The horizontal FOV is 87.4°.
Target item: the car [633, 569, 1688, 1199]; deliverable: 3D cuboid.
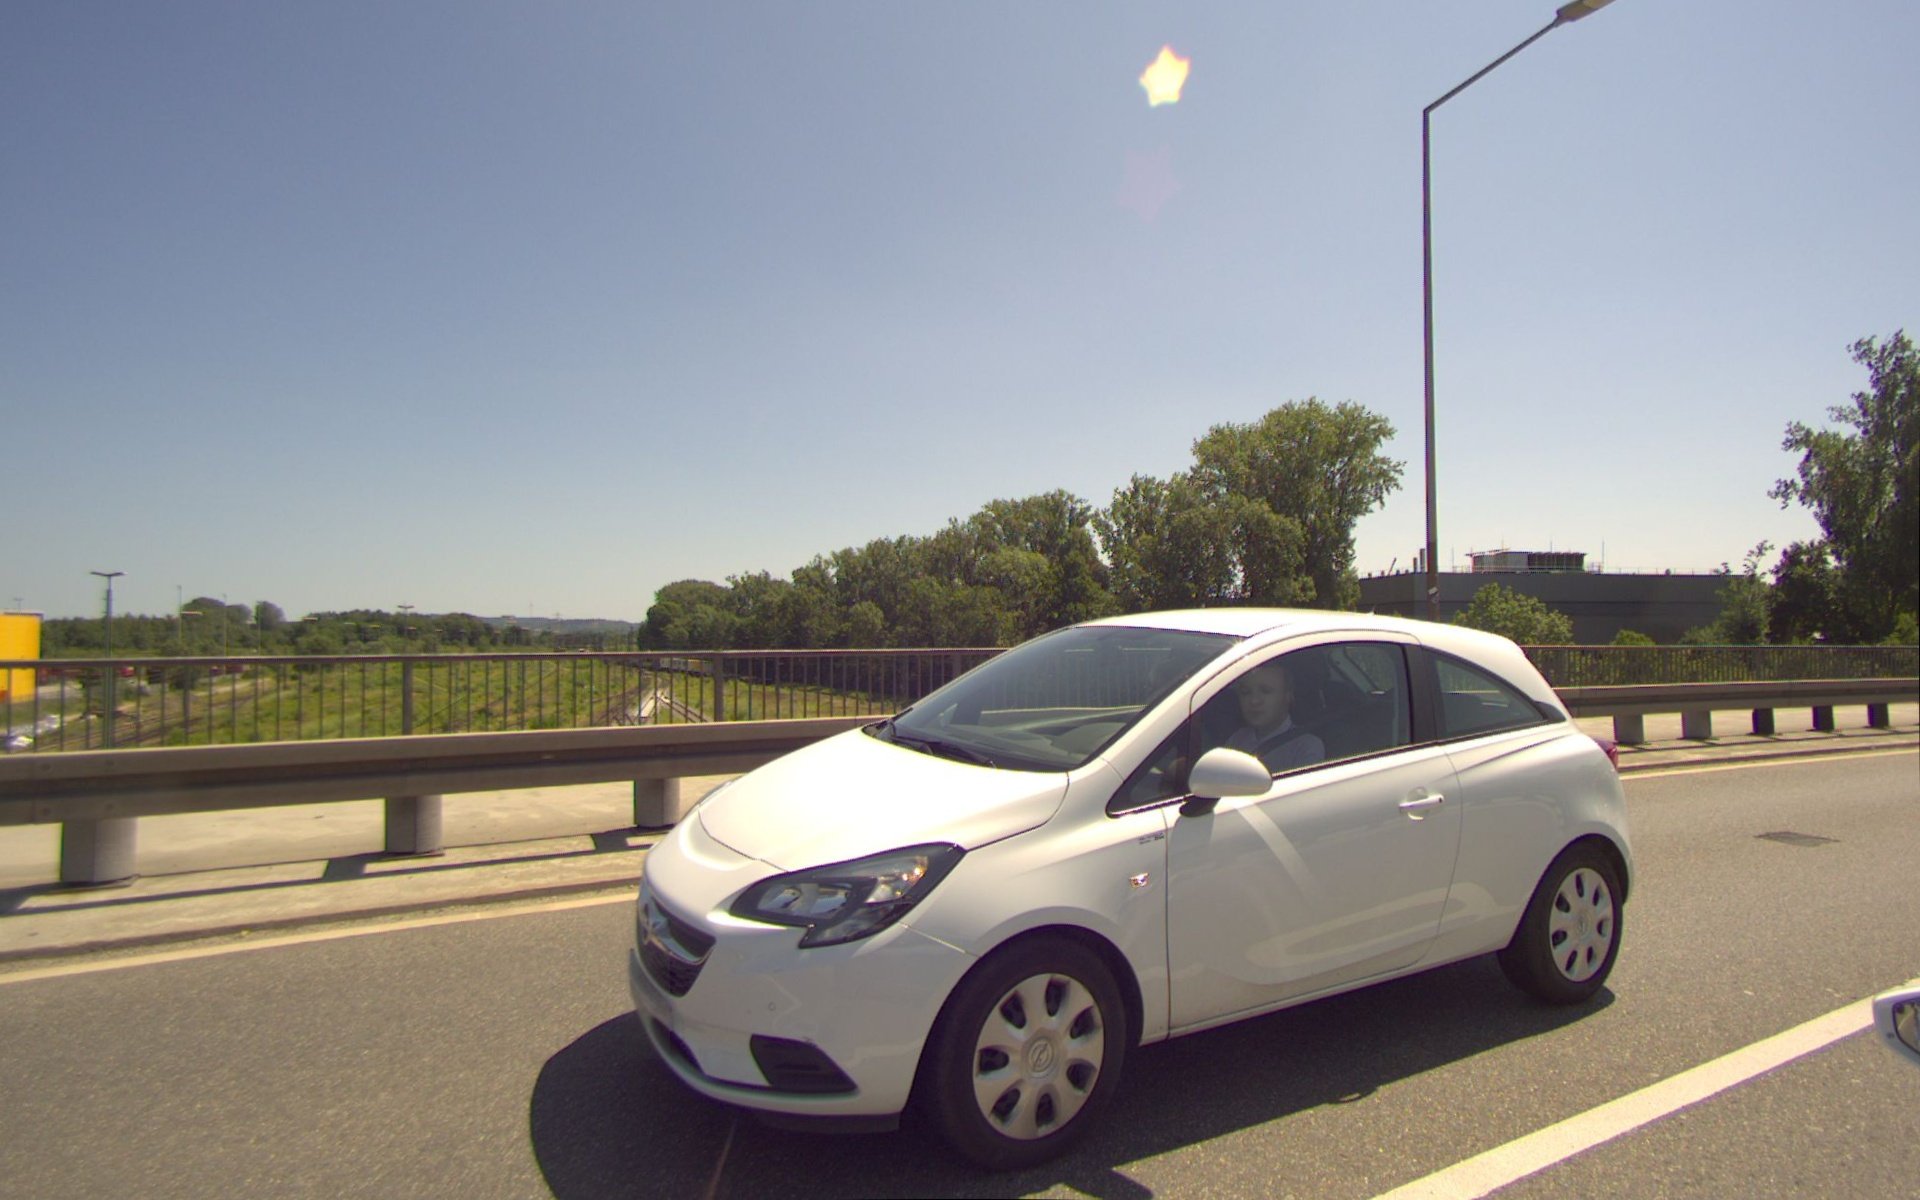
[{"bbox_3d":[0.893,0.744,3.862,3.821,1.503,1.717,1,-2,-30],"label":"car"}]
